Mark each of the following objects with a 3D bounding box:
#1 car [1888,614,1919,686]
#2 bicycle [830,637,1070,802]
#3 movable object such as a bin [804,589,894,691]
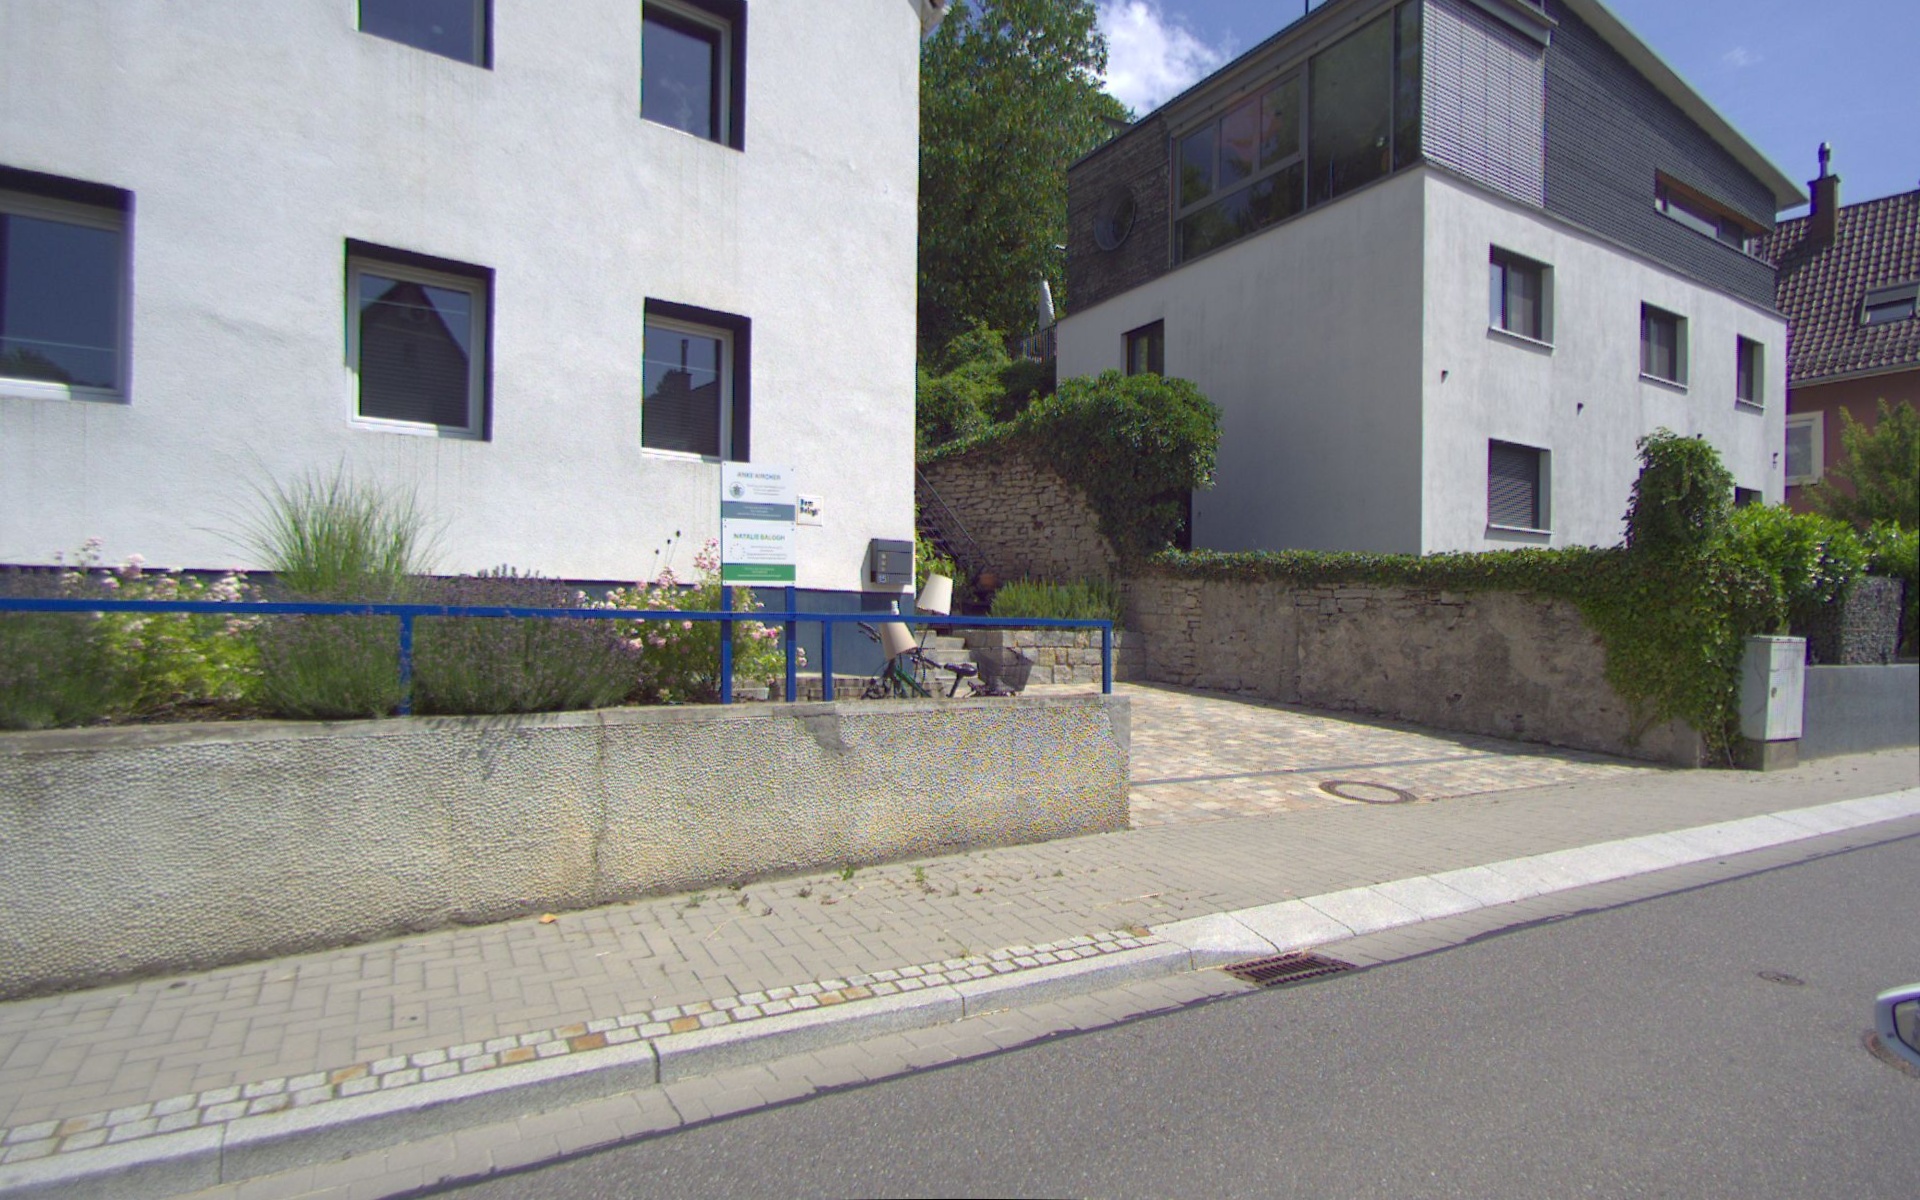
[{"bbox_3d":[20.759,1.123,19.555,1.630,1.425,3.551,1,3,-26],"label":"car"},{"bbox_3d":[-0.056,0.795,6.870,1.519,0.985,0.506,3,4,-27],"label":"bicycle"},{"bbox_3d":[-1.292,0.470,11.659,0.832,1.127,0.630,2,-4,-42],"label":"movable object such as a bin"}]
